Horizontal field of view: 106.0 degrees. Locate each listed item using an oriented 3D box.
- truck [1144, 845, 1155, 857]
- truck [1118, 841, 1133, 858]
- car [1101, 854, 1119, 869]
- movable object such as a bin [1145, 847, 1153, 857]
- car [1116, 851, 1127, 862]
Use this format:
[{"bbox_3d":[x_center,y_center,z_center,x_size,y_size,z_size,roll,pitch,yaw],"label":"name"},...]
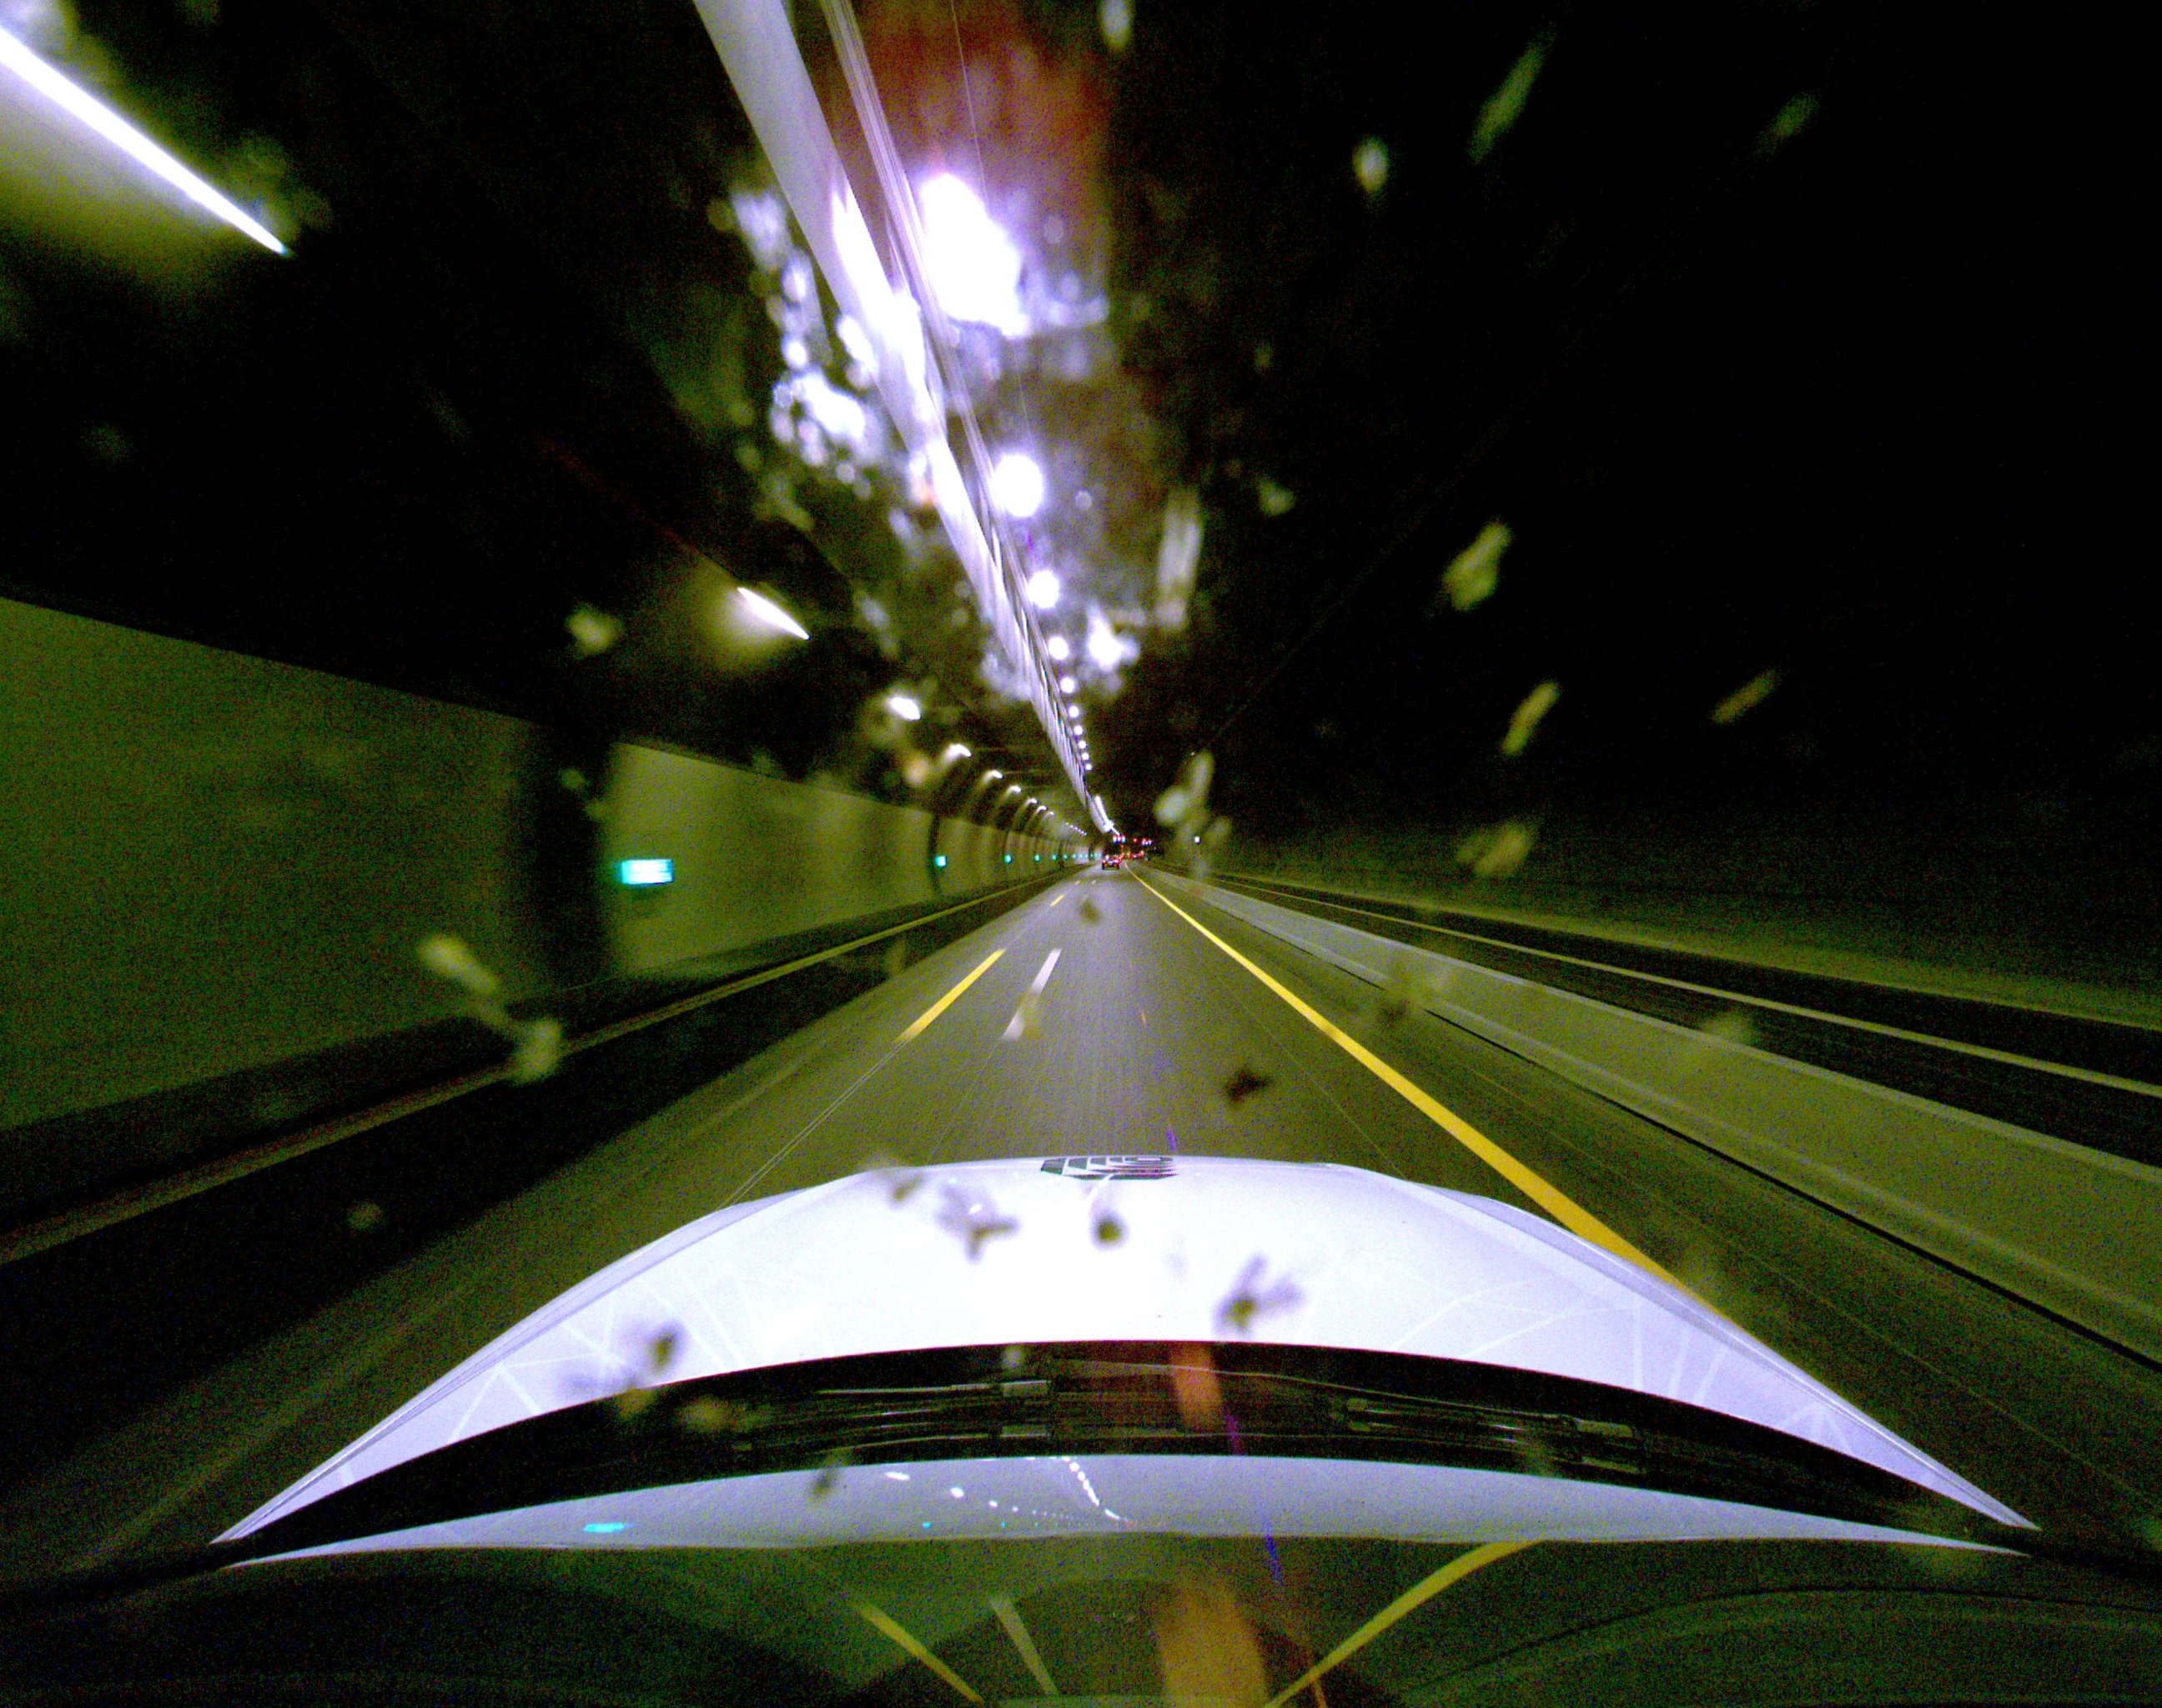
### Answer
[{"bbox_3d":[19.746,-0.741,235.443,2.879,3.272,8.410,-1,0,4],"label":"truck"},{"bbox_3d":[14.249,-1.410,259.575,4.526,4.987,9.608,-1,0,4],"label":"truck"},{"bbox_3d":[3.107,0.790,87.180,1.881,1.607,4.001,-1,0,1],"label":"car"},{"bbox_3d":[20.484,-0.511,245.040,2.228,2.794,7.240,-1,0,4],"label":"movable object such as a bin"},{"bbox_3d":[7.773,0.553,155.378,1.986,2.013,4.002,-1,0,2],"label":"car"}]
